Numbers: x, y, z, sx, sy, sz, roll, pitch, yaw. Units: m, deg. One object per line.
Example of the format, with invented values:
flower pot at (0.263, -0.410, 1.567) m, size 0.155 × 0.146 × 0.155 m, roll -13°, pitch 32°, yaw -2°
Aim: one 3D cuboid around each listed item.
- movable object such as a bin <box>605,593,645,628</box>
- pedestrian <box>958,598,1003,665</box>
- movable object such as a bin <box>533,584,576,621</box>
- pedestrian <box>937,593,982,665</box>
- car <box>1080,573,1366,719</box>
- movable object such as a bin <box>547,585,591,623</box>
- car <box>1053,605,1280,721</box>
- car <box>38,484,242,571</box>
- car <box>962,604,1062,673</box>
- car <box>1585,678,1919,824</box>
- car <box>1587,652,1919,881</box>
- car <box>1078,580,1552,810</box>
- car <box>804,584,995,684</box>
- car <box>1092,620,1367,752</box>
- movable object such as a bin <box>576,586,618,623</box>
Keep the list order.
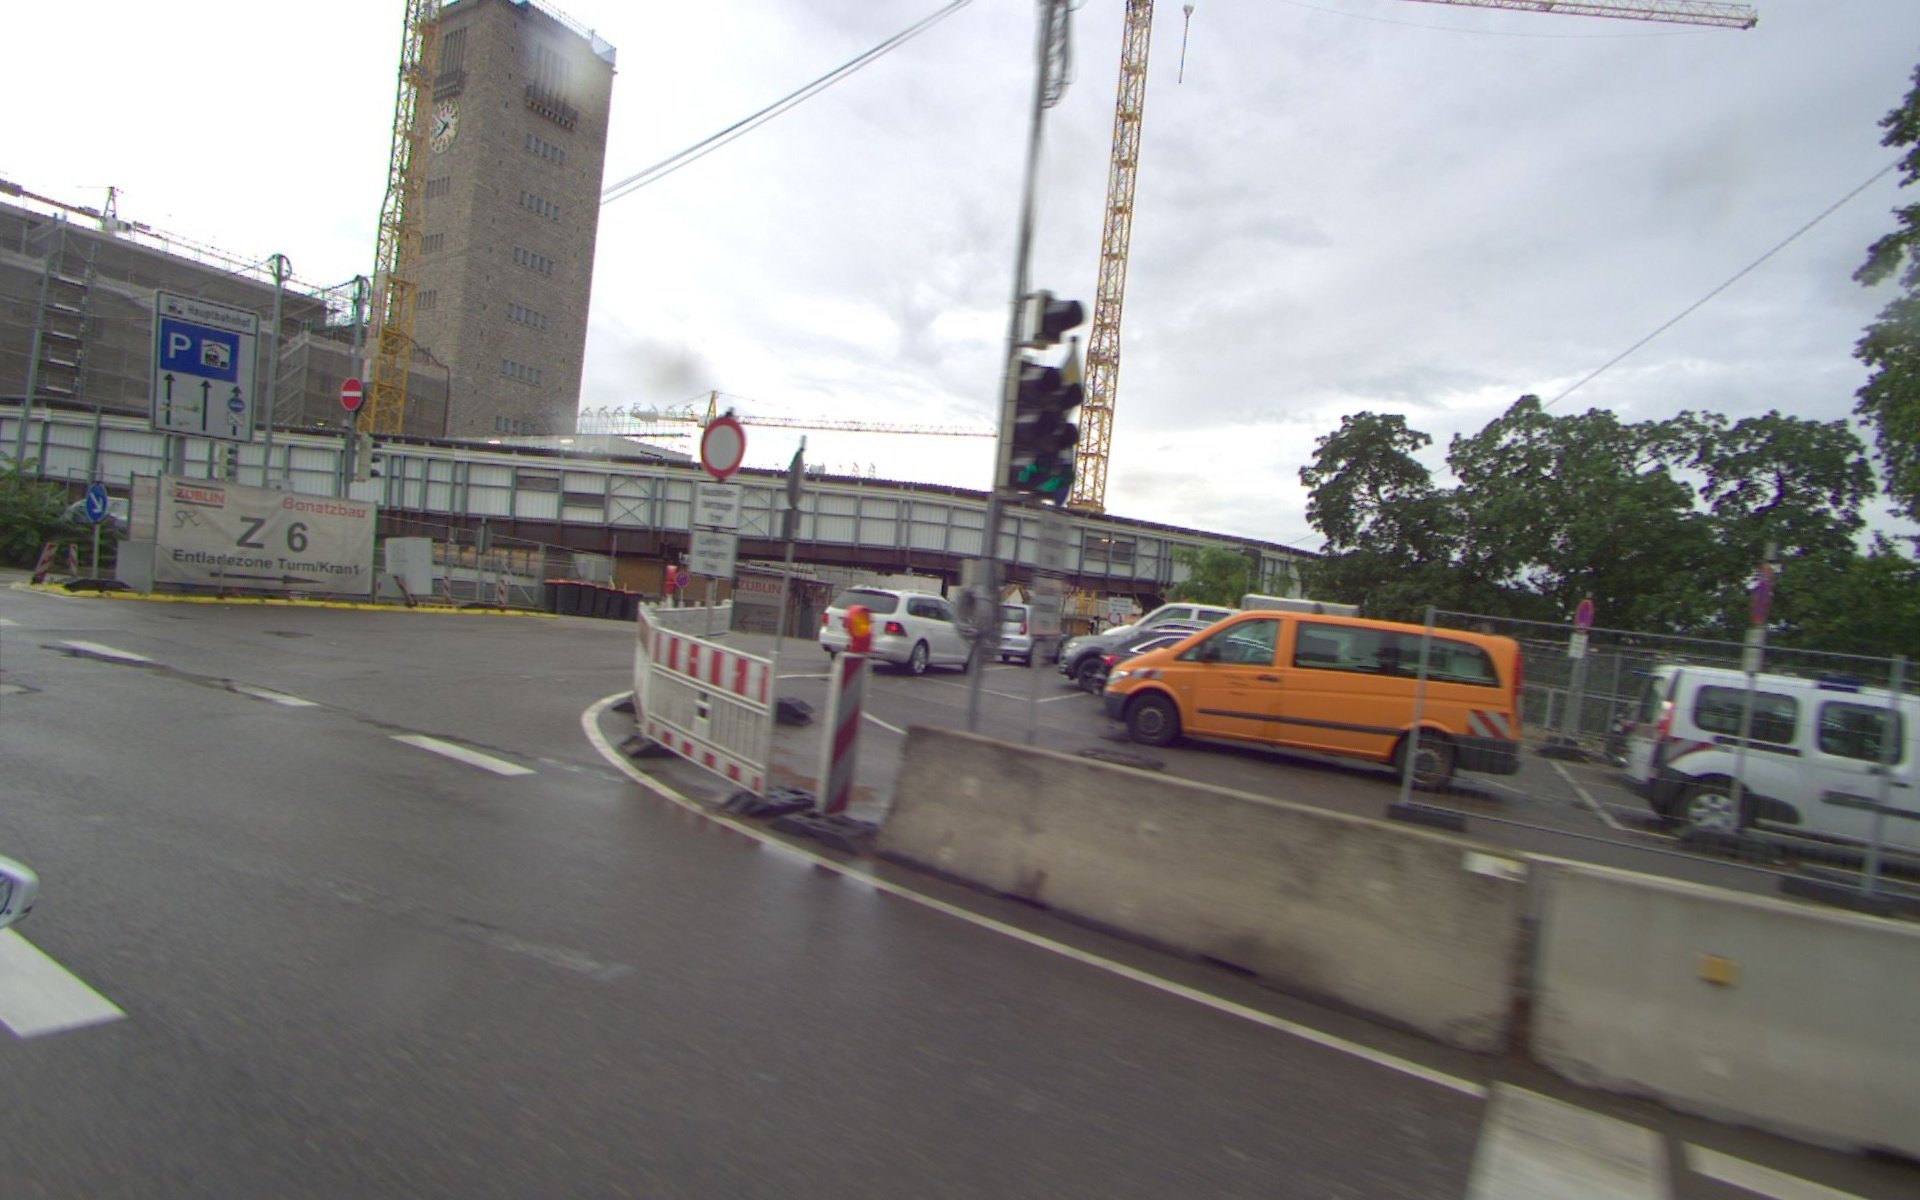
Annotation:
movable object such as a bin at (-11.132, 0.351, 33.428) m, size 0.719 × 1.116 × 0.990 m, roll 4°, pitch 1°, yaw 36°
pedestrian at (0.523, 0.807, 26.084) m, size 0.702 × 1.657 × 0.811 m, roll 3°, pitch 1°, yaw -39°
movable object such as a bin at (-12.926, 0.075, 32.078) m, size 0.719 × 1.116 × 0.990 m, roll 4°, pitch 1°, yaw 36°
pedestrian at (-0.015, 0.738, 25.625) m, size 0.702 × 1.756 × 0.815 m, roll 3°, pitch 1°, yaw -39°
car at (5.600, 0.905, 21.587) m, size 5.501 × 2.343 × 2.049 m, roll 6°, pitch 1°, yaw 21°
movable object such as a bin at (-12.291, 0.119, 31.611) m, size 0.736 × 1.116 × 0.990 m, roll 4°, pitch 1°, yaw 36°
car at (3.990, 1.147, 19.342) m, size 3.862 × 1.640 × 1.944 m, roll 7°, pitch 1°, yaw 21°
car at (-28.625, -2.478, 35.344) m, size 4.804 × 2.157 × 2.347 m, roll 8°, pitch -1°, yaw -15°
car at (1.372, 0.943, 25.382) m, size 1.596 × 1.499 × 3.353 m, roll 4°, pitch 0°, yaw 19°
car at (11.932, 2.179, 15.180) m, size 3.928 × 1.579 × 1.763 m, roll 4°, pitch 0°, yaw 24°
car at (9.673, 1.844, 10.462) m, size 4.997 × 1.828 × 1.851 m, roll 8°, pitch 0°, yaw 27°
car at (4.297, 1.068, 12.711) m, size 5.068 × 1.999 × 1.918 m, roll 7°, pitch 0°, yaw 22°
car at (-0.990, 0.653, 18.954) m, size 1.782 × 1.471 × 4.212 m, roll 7°, pitch 1°, yaw 23°
car at (4.203, 1.248, 15.783) m, size 3.839 × 1.472 × 1.914 m, roll 4°, pitch 4°, yaw 19°
movable object such as a bin at (-11.733, 0.162, 32.524) m, size 0.719 × 1.116 × 0.990 m, roll 4°, pitch 1°, yaw 36°
